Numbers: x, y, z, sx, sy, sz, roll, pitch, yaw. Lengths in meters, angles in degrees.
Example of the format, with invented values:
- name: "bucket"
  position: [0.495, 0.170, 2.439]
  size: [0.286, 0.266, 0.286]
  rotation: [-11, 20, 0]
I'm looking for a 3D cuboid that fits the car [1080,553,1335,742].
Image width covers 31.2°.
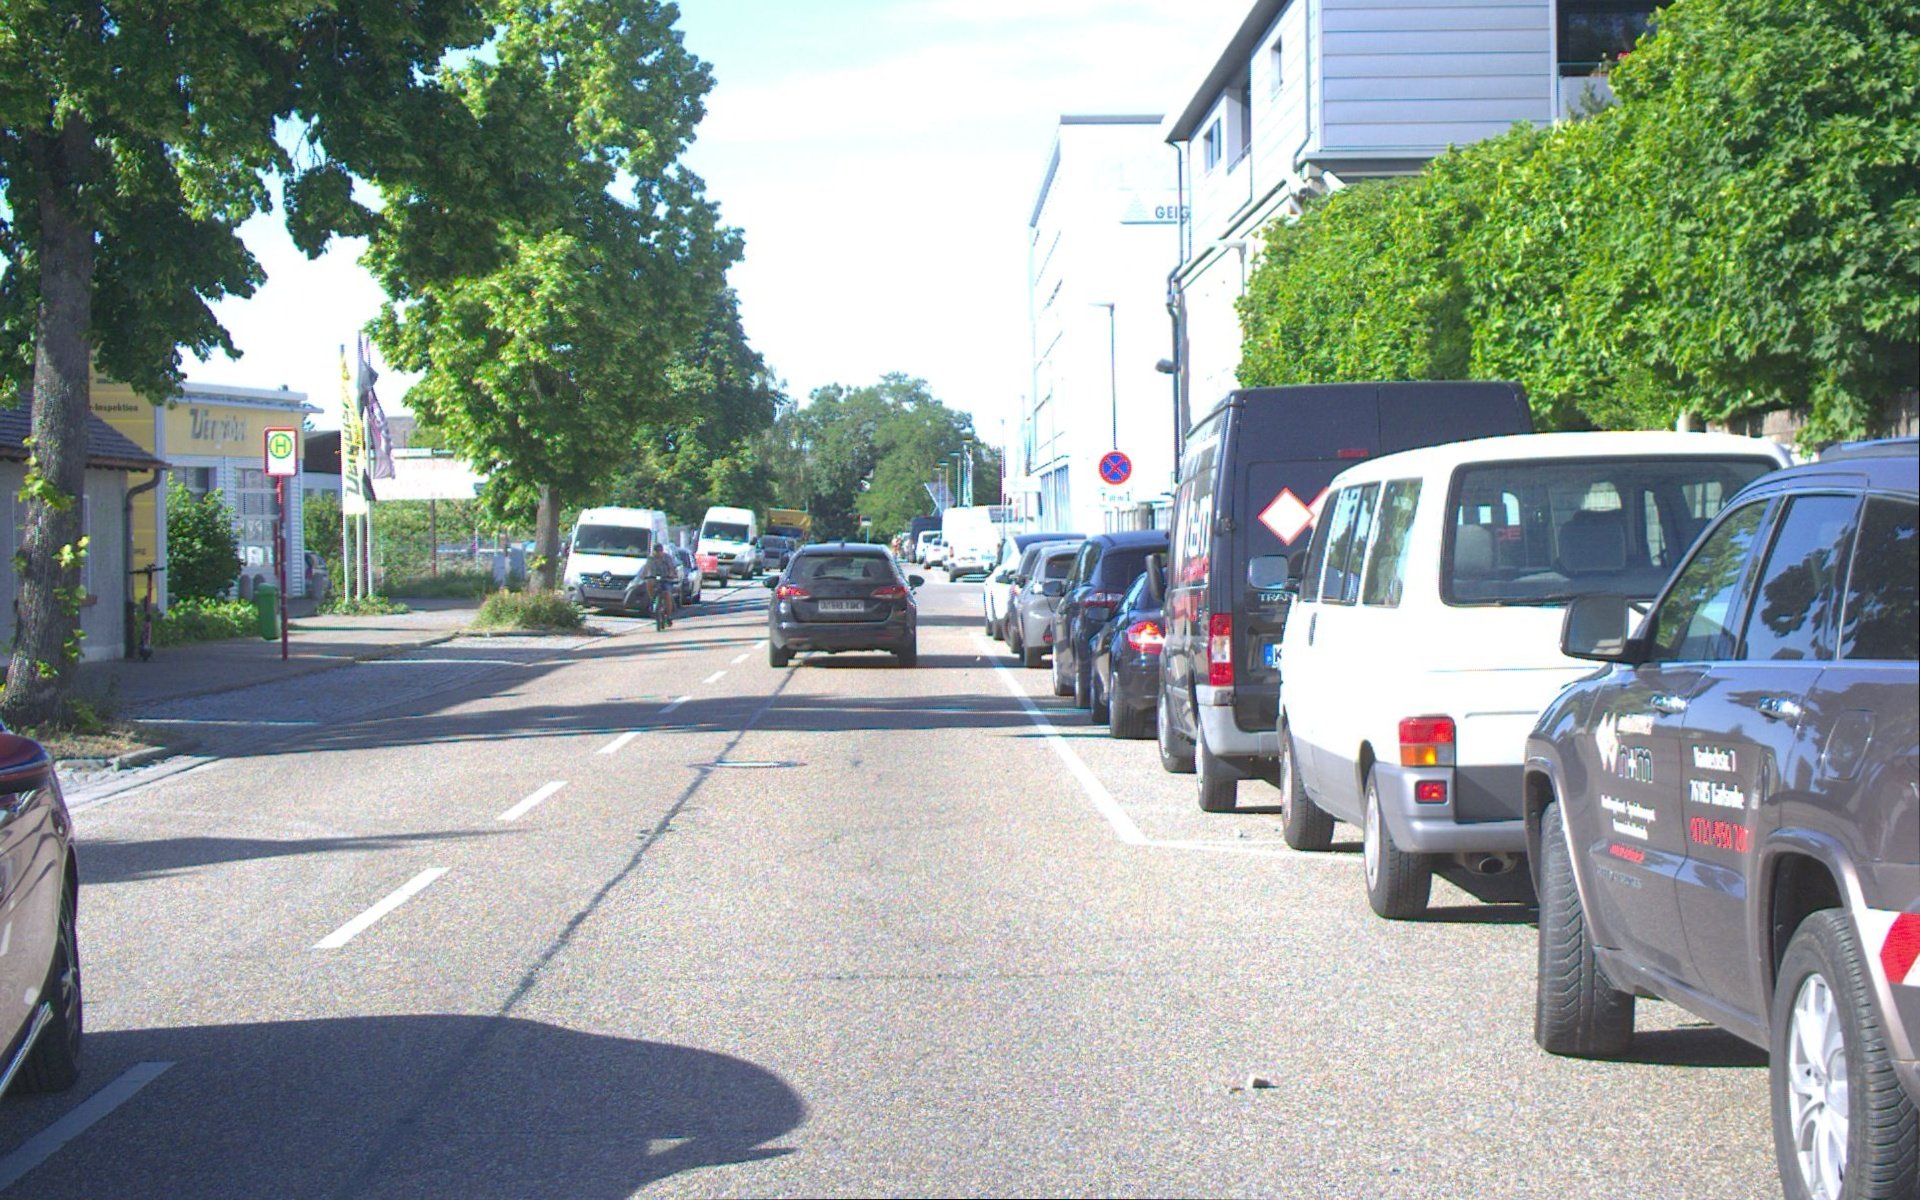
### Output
- name: "car"
  position: [1.888, 0.319, 27.251]
  size: [1.654, 1.314, 4.104]
  rotation: [-1, 1, -1]

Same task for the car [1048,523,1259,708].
- name: "car"
  position: [1.751, 0.092, 32.323]
  size: [1.681, 1.608, 4.205]
  rotation: [1, 1, -1]

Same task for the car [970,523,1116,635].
- name: "car"
  position: [1.252, -0.368, 54.080]
  size: [1.931, 1.639, 4.770]
  rotation: [-1, 1, -3]

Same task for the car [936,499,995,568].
- name: "car"
  position: [0.209, -2.706, 138.947]
  size: [1.993, 2.589, 6.052]
  rotation: [-3, 2, -2]

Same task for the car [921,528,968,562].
- name: "car"
  position: [-0.690, -2.398, 150.309]
  size: [1.894, 1.400, 5.125]
  rotation: [1, 1, -2]

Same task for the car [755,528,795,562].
- name: "car"
  position: [-9.816, -2.928, 182.859]
  size: [1.791, 1.725, 4.802]
  rotation: [-1, 1, 0]

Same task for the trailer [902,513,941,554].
- name: "trailer"
  position: [-2.589, -4.468, 231.092]
  size: [2.459, 2.663, 5.702]
  rotation: [-1, 1, -2]

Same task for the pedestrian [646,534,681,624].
- name: "pedestrian"
  position: [-5.647, -0.399, 65.414]
  size: [0.594, 1.693, 0.639]
  rotation: [1, 0, -1]

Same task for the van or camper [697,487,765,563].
- name: "van or camper"
  position: [-8.647, -2.842, 130.092]
  size: [1.966, 2.676, 5.948]
  rotation: [4, 1, 0]

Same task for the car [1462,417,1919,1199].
- name: "car"
  position: [2.581, 0.523, 8.543]
  size: [1.801, 1.738, 4.913]
  rotation: [1, 1, -2]

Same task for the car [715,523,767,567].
- name: "car"
  position: [-9.103, -2.325, 143.231]
  size: [2.030, 1.688, 5.107]
  rotation: [3, 1, -3]

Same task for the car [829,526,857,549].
- name: "car"
  position: [-7.547, -4.028, 222.366]
  size: [1.747, 1.442, 4.361]
  rotation: [-1, 1, -1]

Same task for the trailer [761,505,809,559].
- name: "trailer"
  position: [-11.334, -4.413, 223.501]
  size: [2.991, 3.431, 8.162]
  rotation: [-1, 1, -3]

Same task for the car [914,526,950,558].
- name: "car"
  position: [-1.596, -3.264, 194.647]
  size: [1.885, 1.791, 5.104]
  rotation: [1, 1, -2]

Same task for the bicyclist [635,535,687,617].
- name: "bicyclist"
  position: [-5.663, -0.457, 65.142]
  size: [0.839, 1.537, 1.136]
  rotation: [1, 0, 2]

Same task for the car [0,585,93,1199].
- name: "car"
  position: [-3.096, 0.748, 7.804]
  size: [1.869, 1.416, 4.531]
  rotation: [-3, 1, -11]

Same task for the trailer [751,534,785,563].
- name: "trailer"
  position: [-9.177, -2.465, 164.463]
  size: [1.476, 1.349, 3.079]
  rotation: [1, 1, -1]

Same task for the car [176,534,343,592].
- name: "car"
  position: [-19.583, -1.044, 96.167]
  size: [4.159, 1.568, 1.915]
  rotation: [-1, 1, 9]

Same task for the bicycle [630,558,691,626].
- name: "bicycle"
  position: [-5.663, -0.162, 65.148]
  size: [0.839, 1.235, 2.604]
  rotation: [1, 1, 2]

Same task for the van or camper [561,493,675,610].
- name: "van or camper"
  position: [-8.033, -1.173, 81.198]
  size: [2.070, 2.540, 6.404]
  rotation: [3, 1, -1]

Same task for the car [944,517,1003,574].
- name: "car"
  position: [0.426, -1.806, 112.917]
  size: [1.889, 1.826, 5.091]
  rotation: [0, 1, 0]

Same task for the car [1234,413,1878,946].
- name: "car"
  position: [2.393, 0.238, 15.113]
  size: [1.892, 1.919, 4.921]
  rotation: [-1, 1, -1]

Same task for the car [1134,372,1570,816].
- name: "car"
  position: [2.159, -0.086, 20.339]
  size: [1.892, 2.252, 5.146]
  rotation: [-1, 1, -1]

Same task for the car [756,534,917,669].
- name: "car"
  position: [-1.465, -0.022, 42.157]
  size: [1.847, 1.525, 4.000]
  rotation: [-1, 1, -1]

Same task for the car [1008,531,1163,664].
- name: "car"
  position: [1.482, -0.069, 41.880]
  size: [1.659, 1.500, 4.032]
  rotation: [-1, 1, -1]

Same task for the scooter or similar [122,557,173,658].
- name: "scooter or similar"
  position: [-10.497, 0.082, 44.399]
  size: [0.482, 1.266, 1.579]
  rotation: [-1, 1, -18]

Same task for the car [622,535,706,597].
- name: "car"
  position: [-7.896, -0.936, 92.042]
  size: [1.799, 1.505, 5.003]
  rotation: [3, 1, -1]

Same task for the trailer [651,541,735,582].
- name: "trailer"
  position: [-8.610, -1.266, 111.352]
  size: [2.376, 1.076, 6.246]
  rotation: [3, 2, -2]

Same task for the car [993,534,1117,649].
- name: "car"
  position: [1.349, -0.158, 47.499]
  size: [1.599, 1.468, 4.189]
  rotation: [-1, 1, 3]
